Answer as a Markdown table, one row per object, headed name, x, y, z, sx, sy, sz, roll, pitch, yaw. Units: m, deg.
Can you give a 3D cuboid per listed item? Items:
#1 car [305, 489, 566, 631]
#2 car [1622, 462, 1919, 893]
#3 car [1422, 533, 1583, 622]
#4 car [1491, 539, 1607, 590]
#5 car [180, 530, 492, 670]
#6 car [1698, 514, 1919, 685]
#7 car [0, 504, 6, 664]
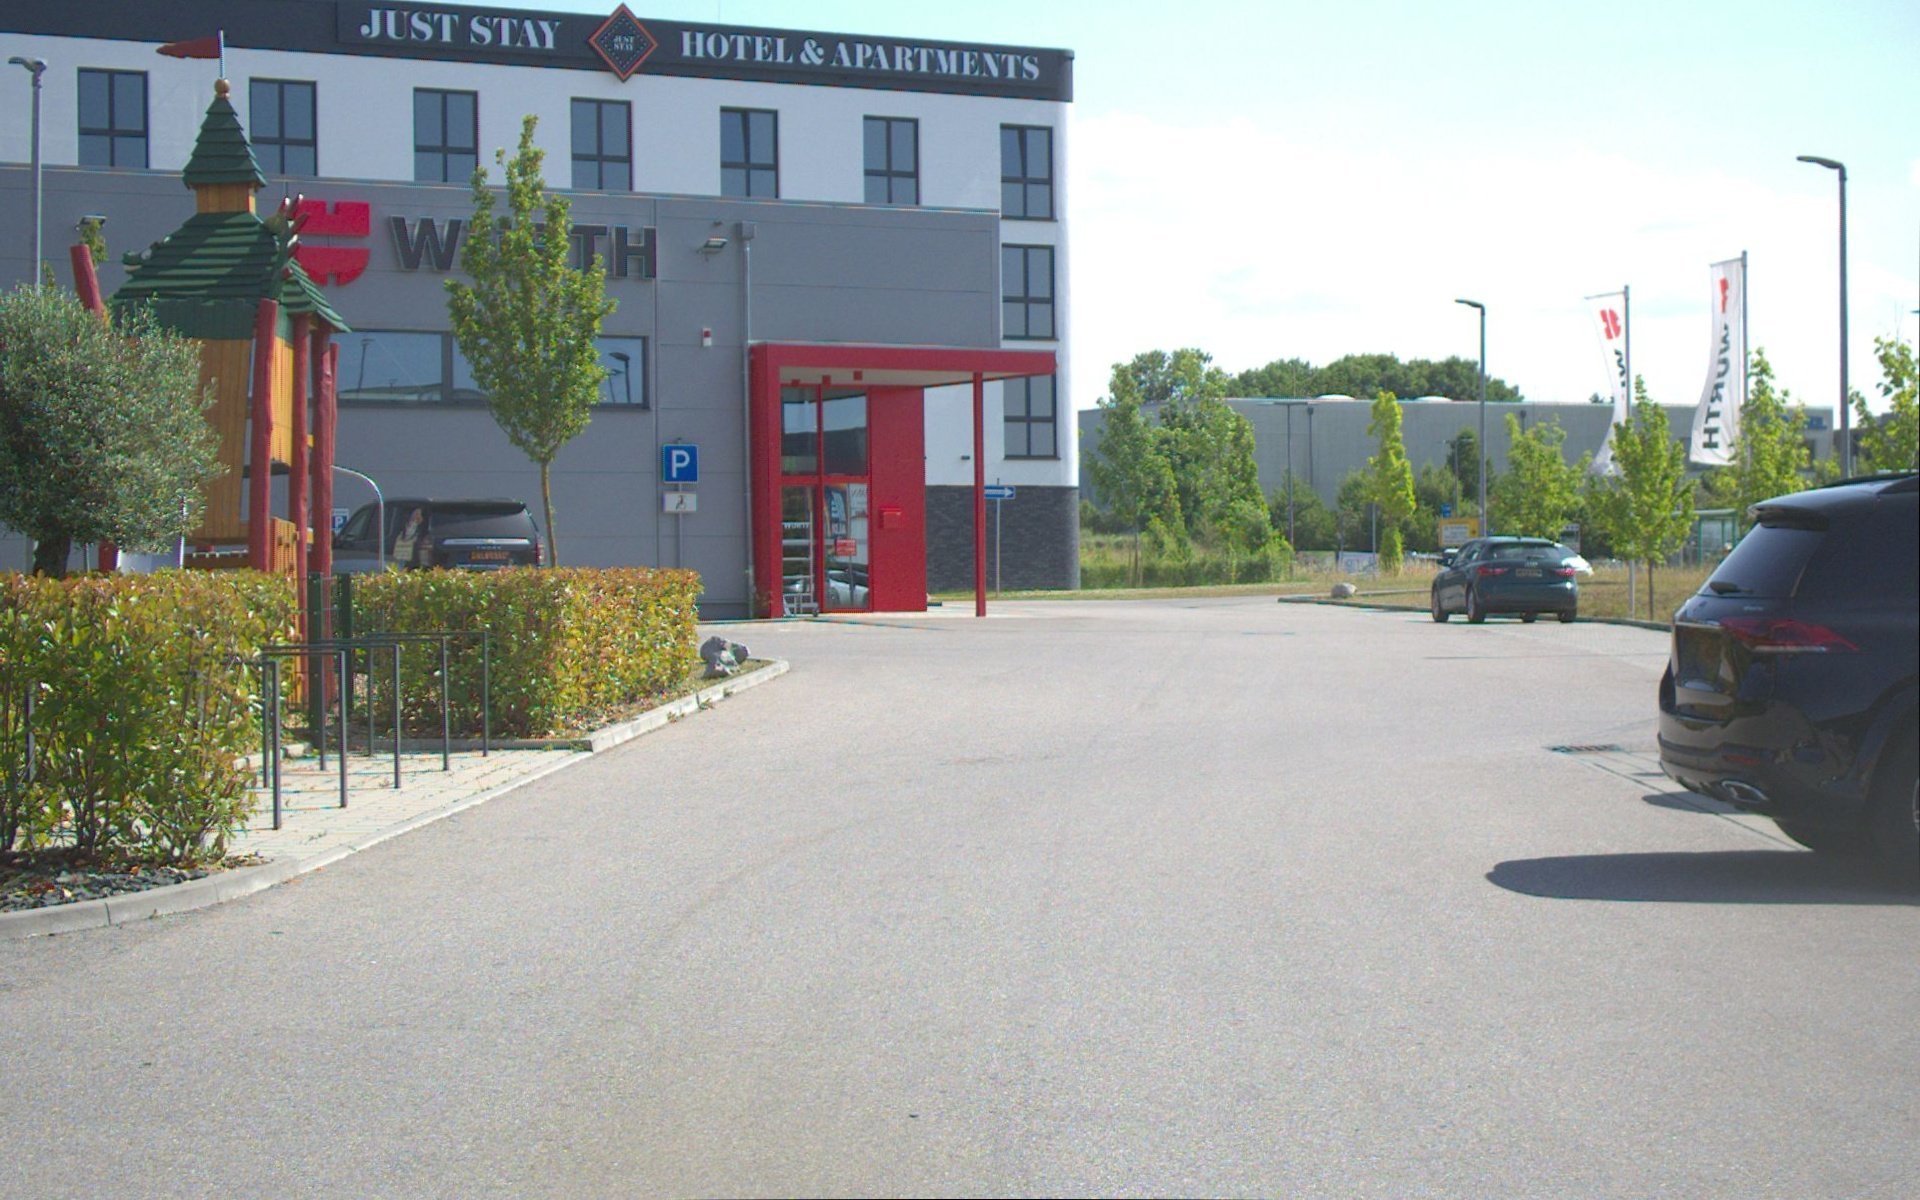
| name | x | y | z | sx | sy | sz | roll | pitch | yaw |
| --- | --- | --- | --- | --- | --- | --- | --- | --- | --- |
| car | -7.400 | -0.596 | 48.131 | 2.071 | 1.874 | 4.880 | -1 | 2 | -28 |
| car | 5.389 | 0.317 | 15.036 | 4.575 | 1.754 | 1.896 | 0 | 1 | -2 |
| car | 8.923 | -0.396 | 56.788 | 1.698 | 1.401 | 3.898 | 0 | 1 | -5 |
| car | 17.891 | -1.106 | 104.659 | 1.872 | 1.478 | 4.001 | -1 | 2 | -17 |
| car | -6.700 | -0.047 | 36.585 | 1.862 | 1.358 | 4.377 | -1 | 2 | -30 |
| car | 8.330 | -0.056 | 32.610 | 1.836 | 1.472 | 4.120 | -2 | 1 | 2 |
| car | -11.093 | -0.184 | 34.305 | 1.947 | 1.525 | 4.377 | -1 | 2 | -30 |
